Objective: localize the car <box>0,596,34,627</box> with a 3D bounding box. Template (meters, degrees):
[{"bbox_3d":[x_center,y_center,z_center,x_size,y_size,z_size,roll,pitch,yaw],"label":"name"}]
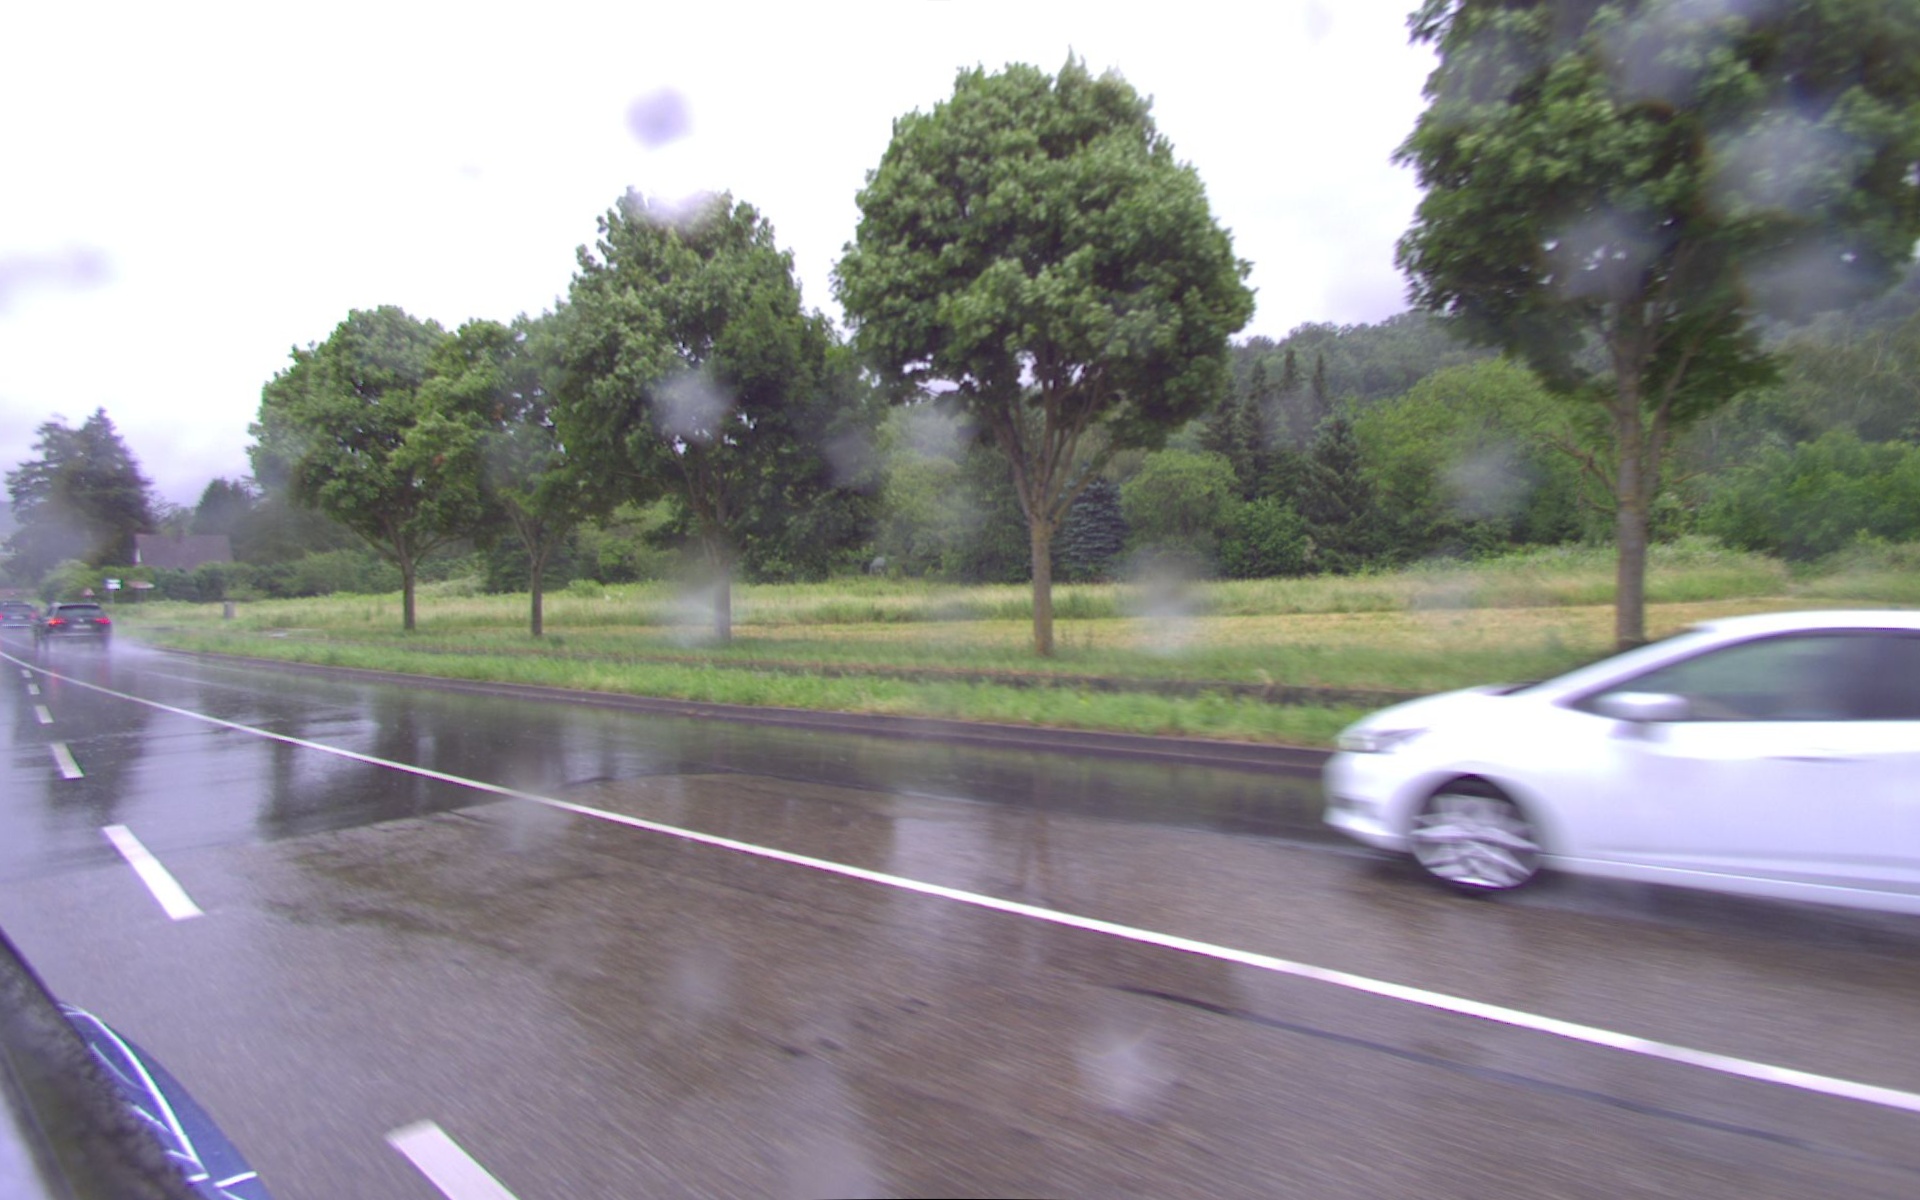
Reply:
[{"bbox_3d":[-53.881,0.626,57.299,4.221,1.717,1.723,0,-1,42],"label":"car"}]

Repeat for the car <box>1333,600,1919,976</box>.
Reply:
[{"bbox_3d":[4.096,0.754,4.901,4.003,1.498,1.723,0,-1,36],"label":"car"}]

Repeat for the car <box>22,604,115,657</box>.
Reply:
[{"bbox_3d":[-31.655,1.018,35.896,4.286,1.756,1.904,0,-1,41],"label":"car"}]
